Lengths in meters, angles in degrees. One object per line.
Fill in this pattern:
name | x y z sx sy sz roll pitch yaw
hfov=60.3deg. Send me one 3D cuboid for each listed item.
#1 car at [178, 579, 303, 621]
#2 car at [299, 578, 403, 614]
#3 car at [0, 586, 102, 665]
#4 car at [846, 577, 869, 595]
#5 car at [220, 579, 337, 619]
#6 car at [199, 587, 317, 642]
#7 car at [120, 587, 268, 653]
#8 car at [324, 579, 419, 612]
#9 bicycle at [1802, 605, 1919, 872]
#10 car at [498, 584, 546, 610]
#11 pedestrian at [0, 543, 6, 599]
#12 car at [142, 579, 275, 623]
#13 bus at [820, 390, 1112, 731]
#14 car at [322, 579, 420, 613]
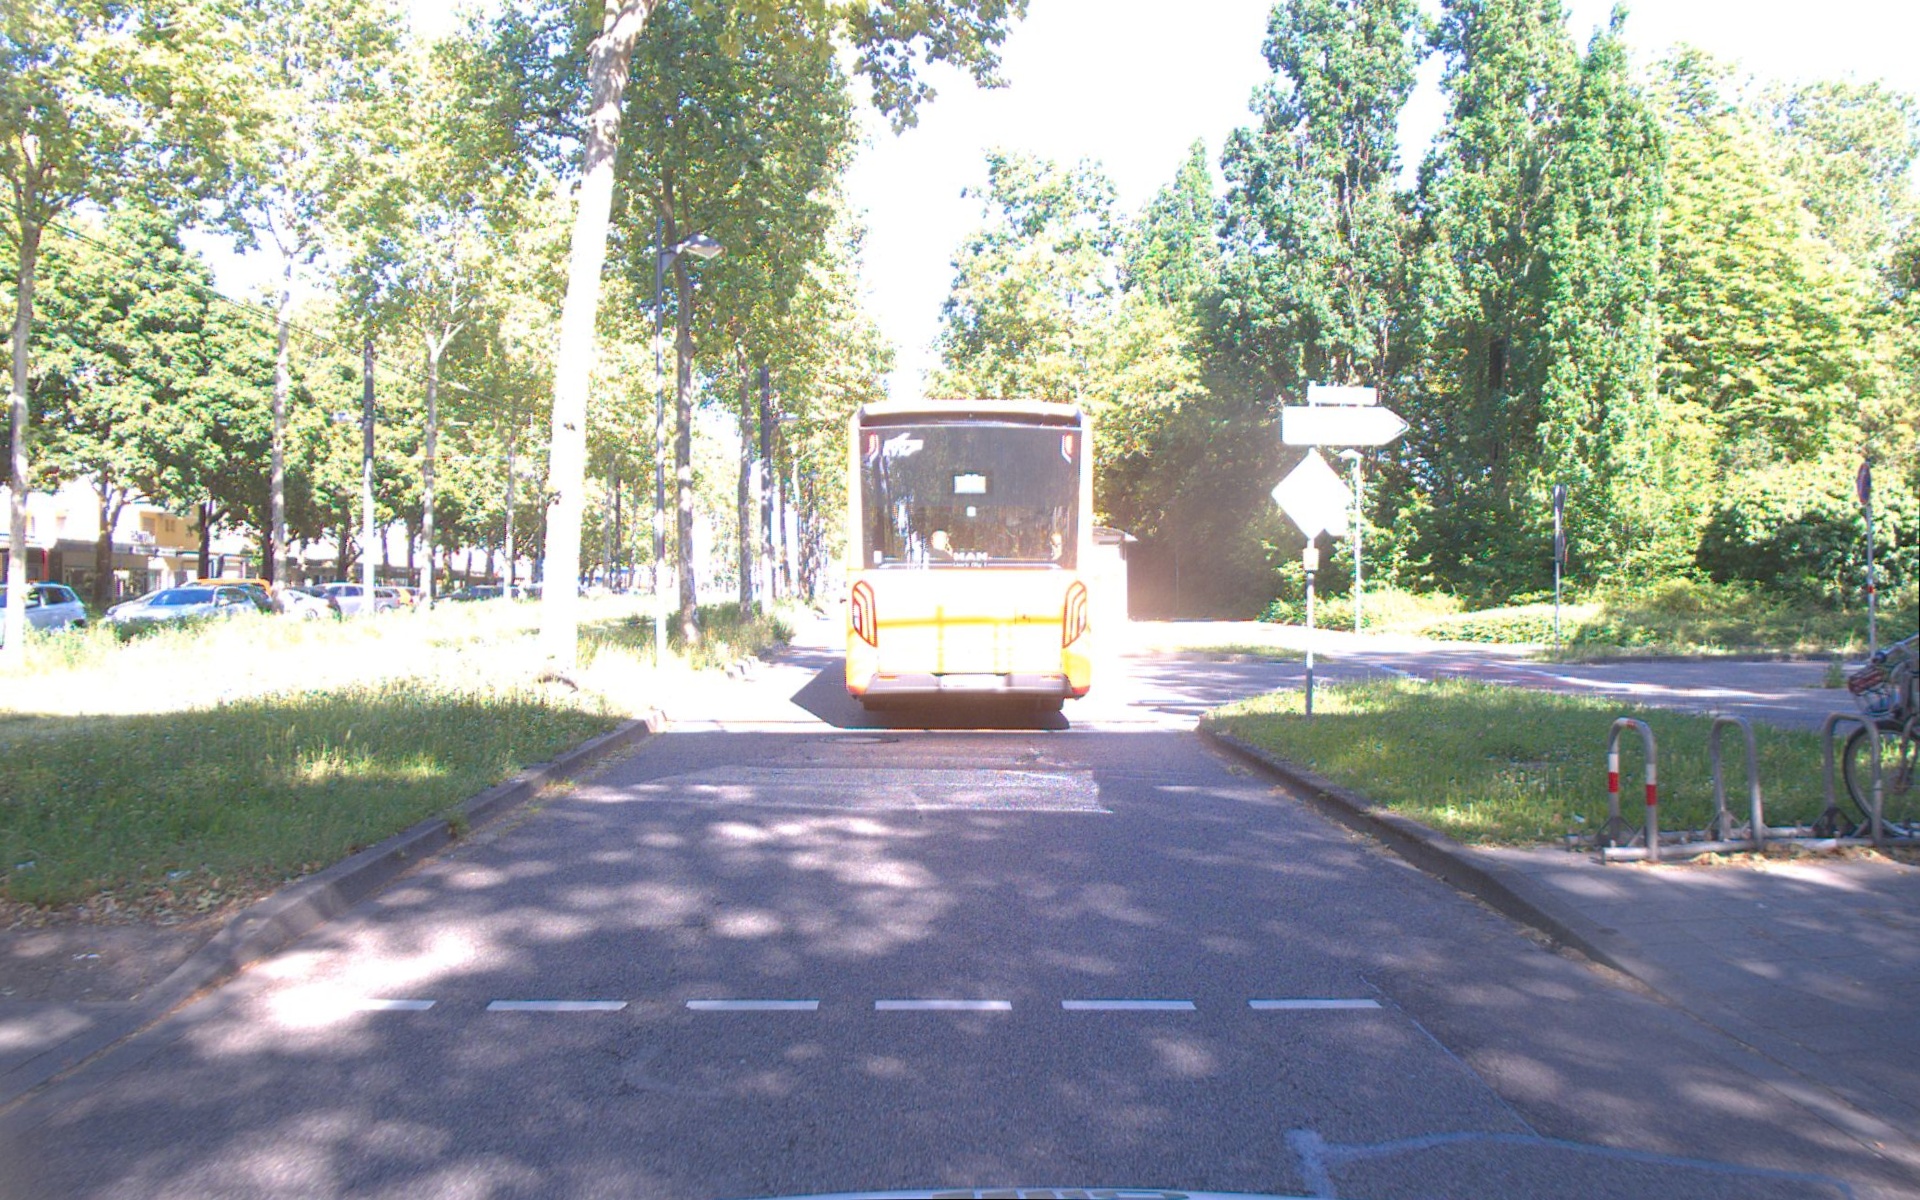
car | -27.063 -0.020 62.286 1.768 1.536 3.976 0 1 42
car | -26.929 -0.176 73.208 1.768 1.536 3.976 0 1 42
car | -20.517 0.509 35.740 1.758 1.608 4.287 0 1 -1
car | -10.045 -1.405 162.913 1.946 1.672 4.134 2 1 0
car | -27.208 -0.055 66.066 1.768 1.536 3.976 0 1 42
car | -20.709 0.399 48.951 1.757 1.536 4.000 0 1 0
car | -19.094 0.455 41.464 1.758 1.536 4.672 0 1 -3
car | -28.354 -0.209 79.775 1.768 1.536 3.976 0 1 42
bicycle | 4.798 0.668 7.857 0.578 1.203 1.800 -3 1 -2
car | -27.038 -0.190 102.231 1.757 1.536 4.001 0 1 2
pedestrian | -25.685 -0.773 43.638 0.635 1.485 0.650 0 0 1
car | -26.797 0.017 59.082 1.768 1.536 3.976 0 1 42
bus | -0.136 -0.443 22.277 2.841 3.324 12.213 0 0 -2
car | -27.352 -0.208 76.871 1.768 1.536 3.976 0 1 42
